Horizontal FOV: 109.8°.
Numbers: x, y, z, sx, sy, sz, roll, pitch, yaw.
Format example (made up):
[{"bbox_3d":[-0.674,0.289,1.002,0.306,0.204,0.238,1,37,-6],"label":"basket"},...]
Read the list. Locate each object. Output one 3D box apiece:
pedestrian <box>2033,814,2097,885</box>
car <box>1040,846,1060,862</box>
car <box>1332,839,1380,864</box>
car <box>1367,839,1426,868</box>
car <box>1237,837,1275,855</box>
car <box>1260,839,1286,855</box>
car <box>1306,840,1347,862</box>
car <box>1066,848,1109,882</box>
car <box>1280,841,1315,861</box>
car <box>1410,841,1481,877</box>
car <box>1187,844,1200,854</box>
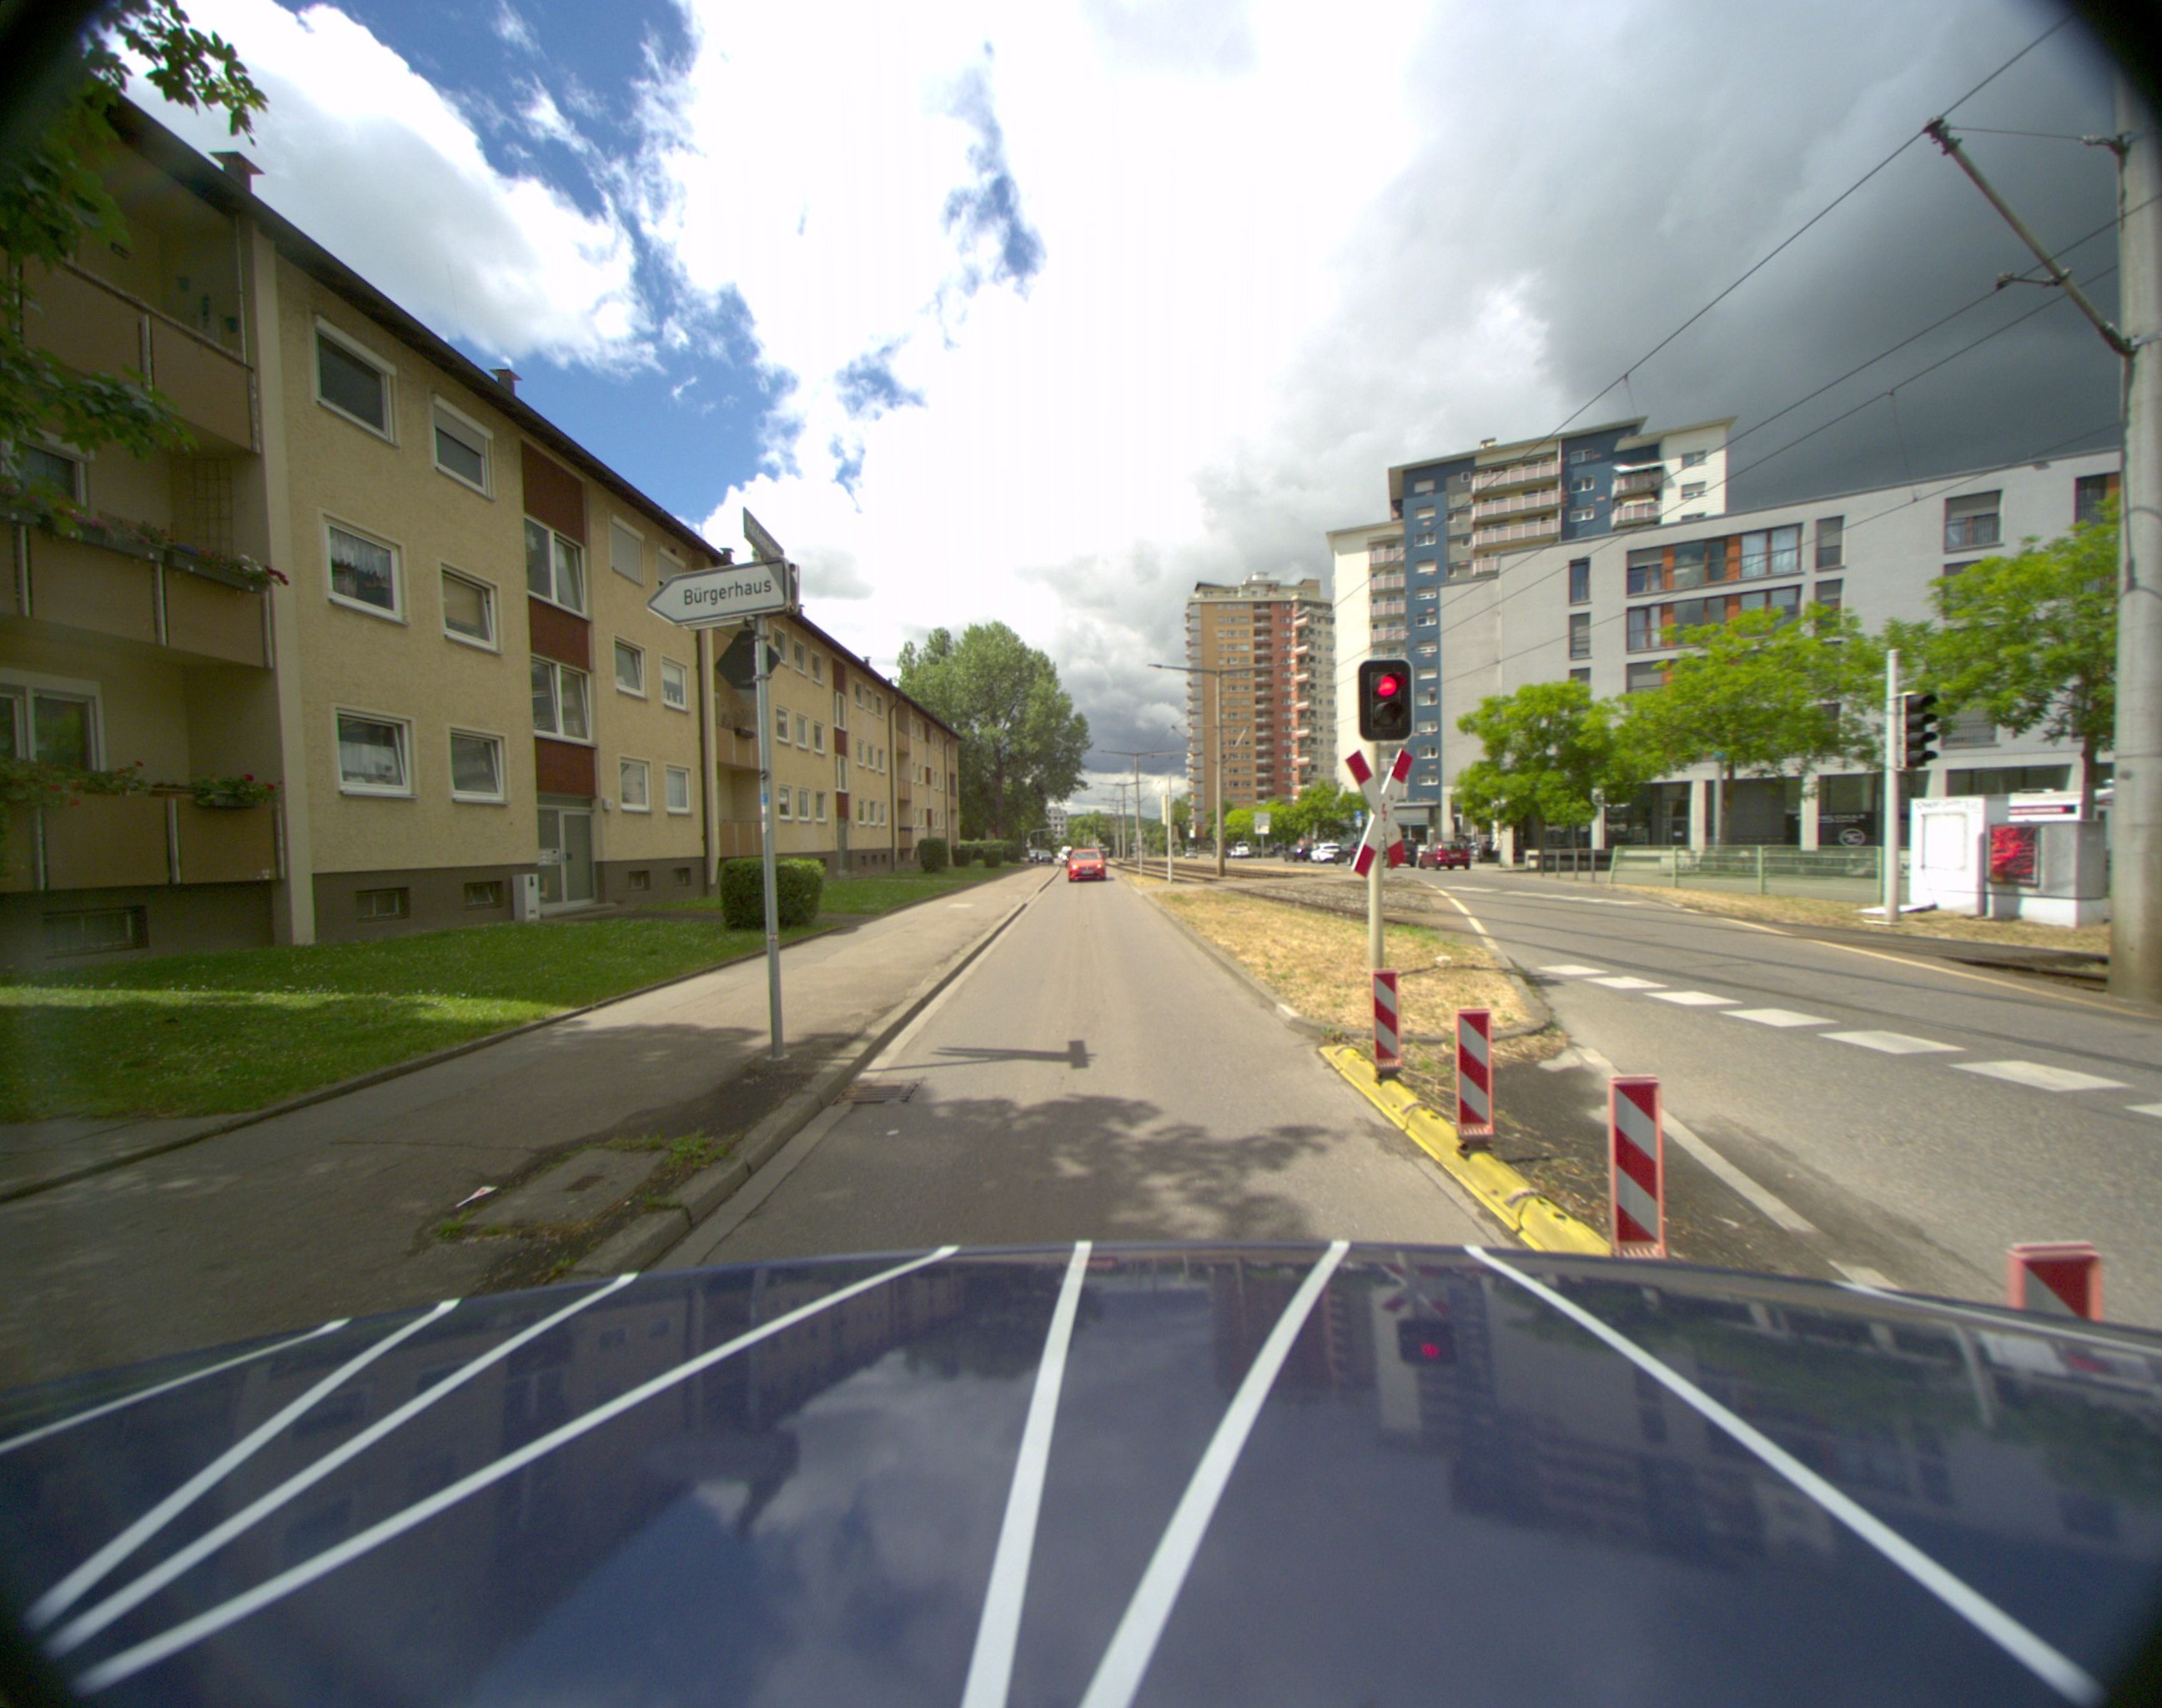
[{"bbox_3d":[28.384,-0.134,21.923,0.734,2.002,0.910,-3,1,-17],"label":"pedestrian"},{"bbox_3d":[-3.329,-0.009,81.520,1.843,1.649,3.789,-2,1,1],"label":"car"},{"bbox_3d":[18.174,-0.169,50.311,1.781,1.531,3.803,-2,1,0],"label":"car"},{"bbox_3d":[18.228,-0.036,44.055,1.893,1.531,3.803,-2,1,2],"label":"car"},{"bbox_3d":[20.213,-0.932,87.641,4.505,1.914,1.877,-3,1,-40],"label":"car"},{"bbox_3d":[20.993,-0.749,83.251,1.781,1.650,3.803,-2,1,0],"label":"car"},{"bbox_3d":[18.233,-0.220,56.613,1.781,1.531,3.803,-2,1,0],"label":"car"},{"bbox_3d":[0.350,0.465,35.499,1.791,1.387,4.242,-2,1,2],"label":"car"},{"bbox_3d":[18.004,-0.285,63.260,1.781,1.531,3.803,-2,1,0],"label":"car"},{"bbox_3d":[18.007,0.209,37.715,1.893,1.614,3.804,-2,1,5],"label":"car"},{"bbox_3d":[17.348,-0.777,117.118,1.780,1.491,3.805,-2,1,6],"label":"car"}]
